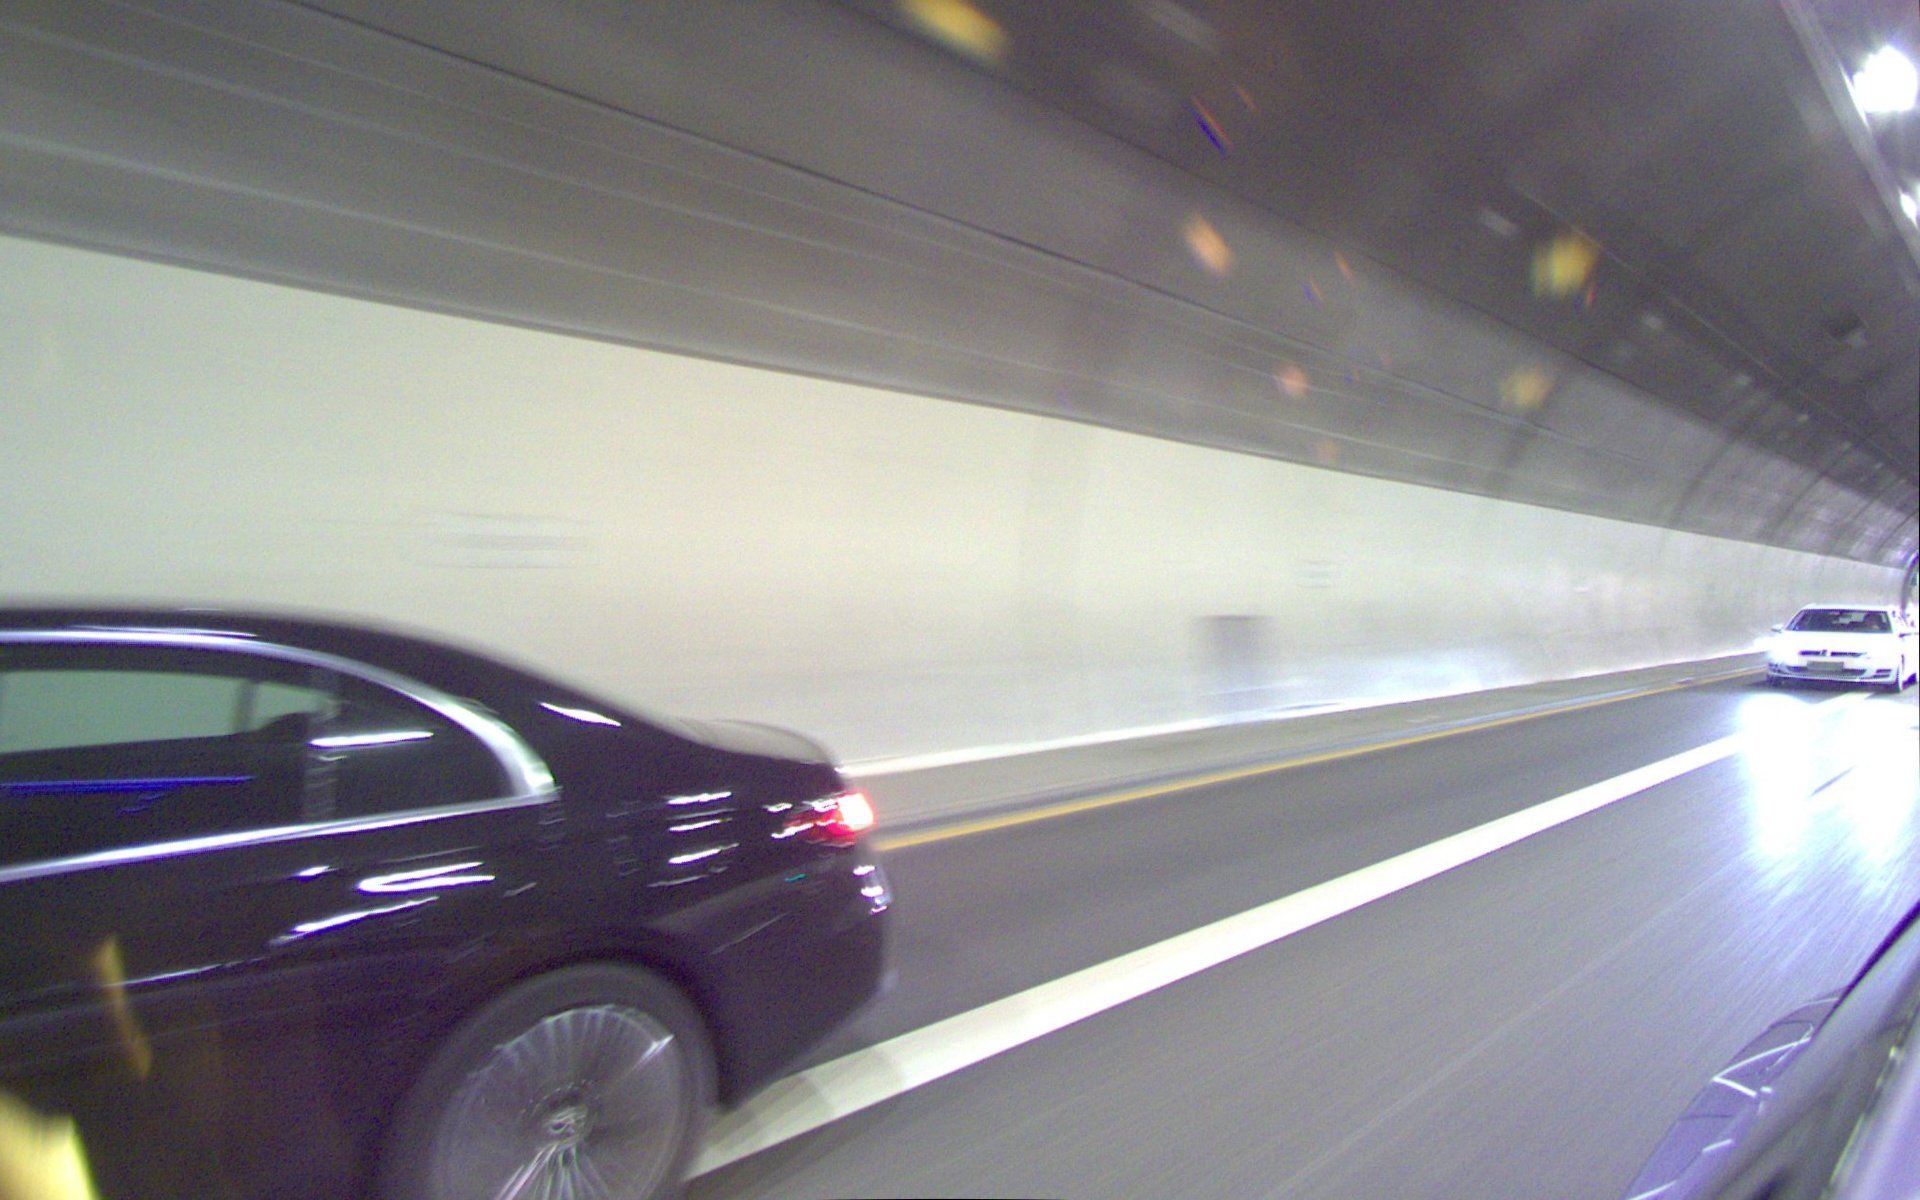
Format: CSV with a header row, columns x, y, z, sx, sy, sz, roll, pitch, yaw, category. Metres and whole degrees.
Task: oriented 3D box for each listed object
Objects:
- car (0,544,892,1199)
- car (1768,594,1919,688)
x,y,z,sx,sy,sz,roll,pitch,yaw,category
-2.641,0.679,1.719,4.867,1.491,1.929,-1,0,-41,car
15.936,0.639,17.891,3.962,1.479,1.801,0,0,-39,car
